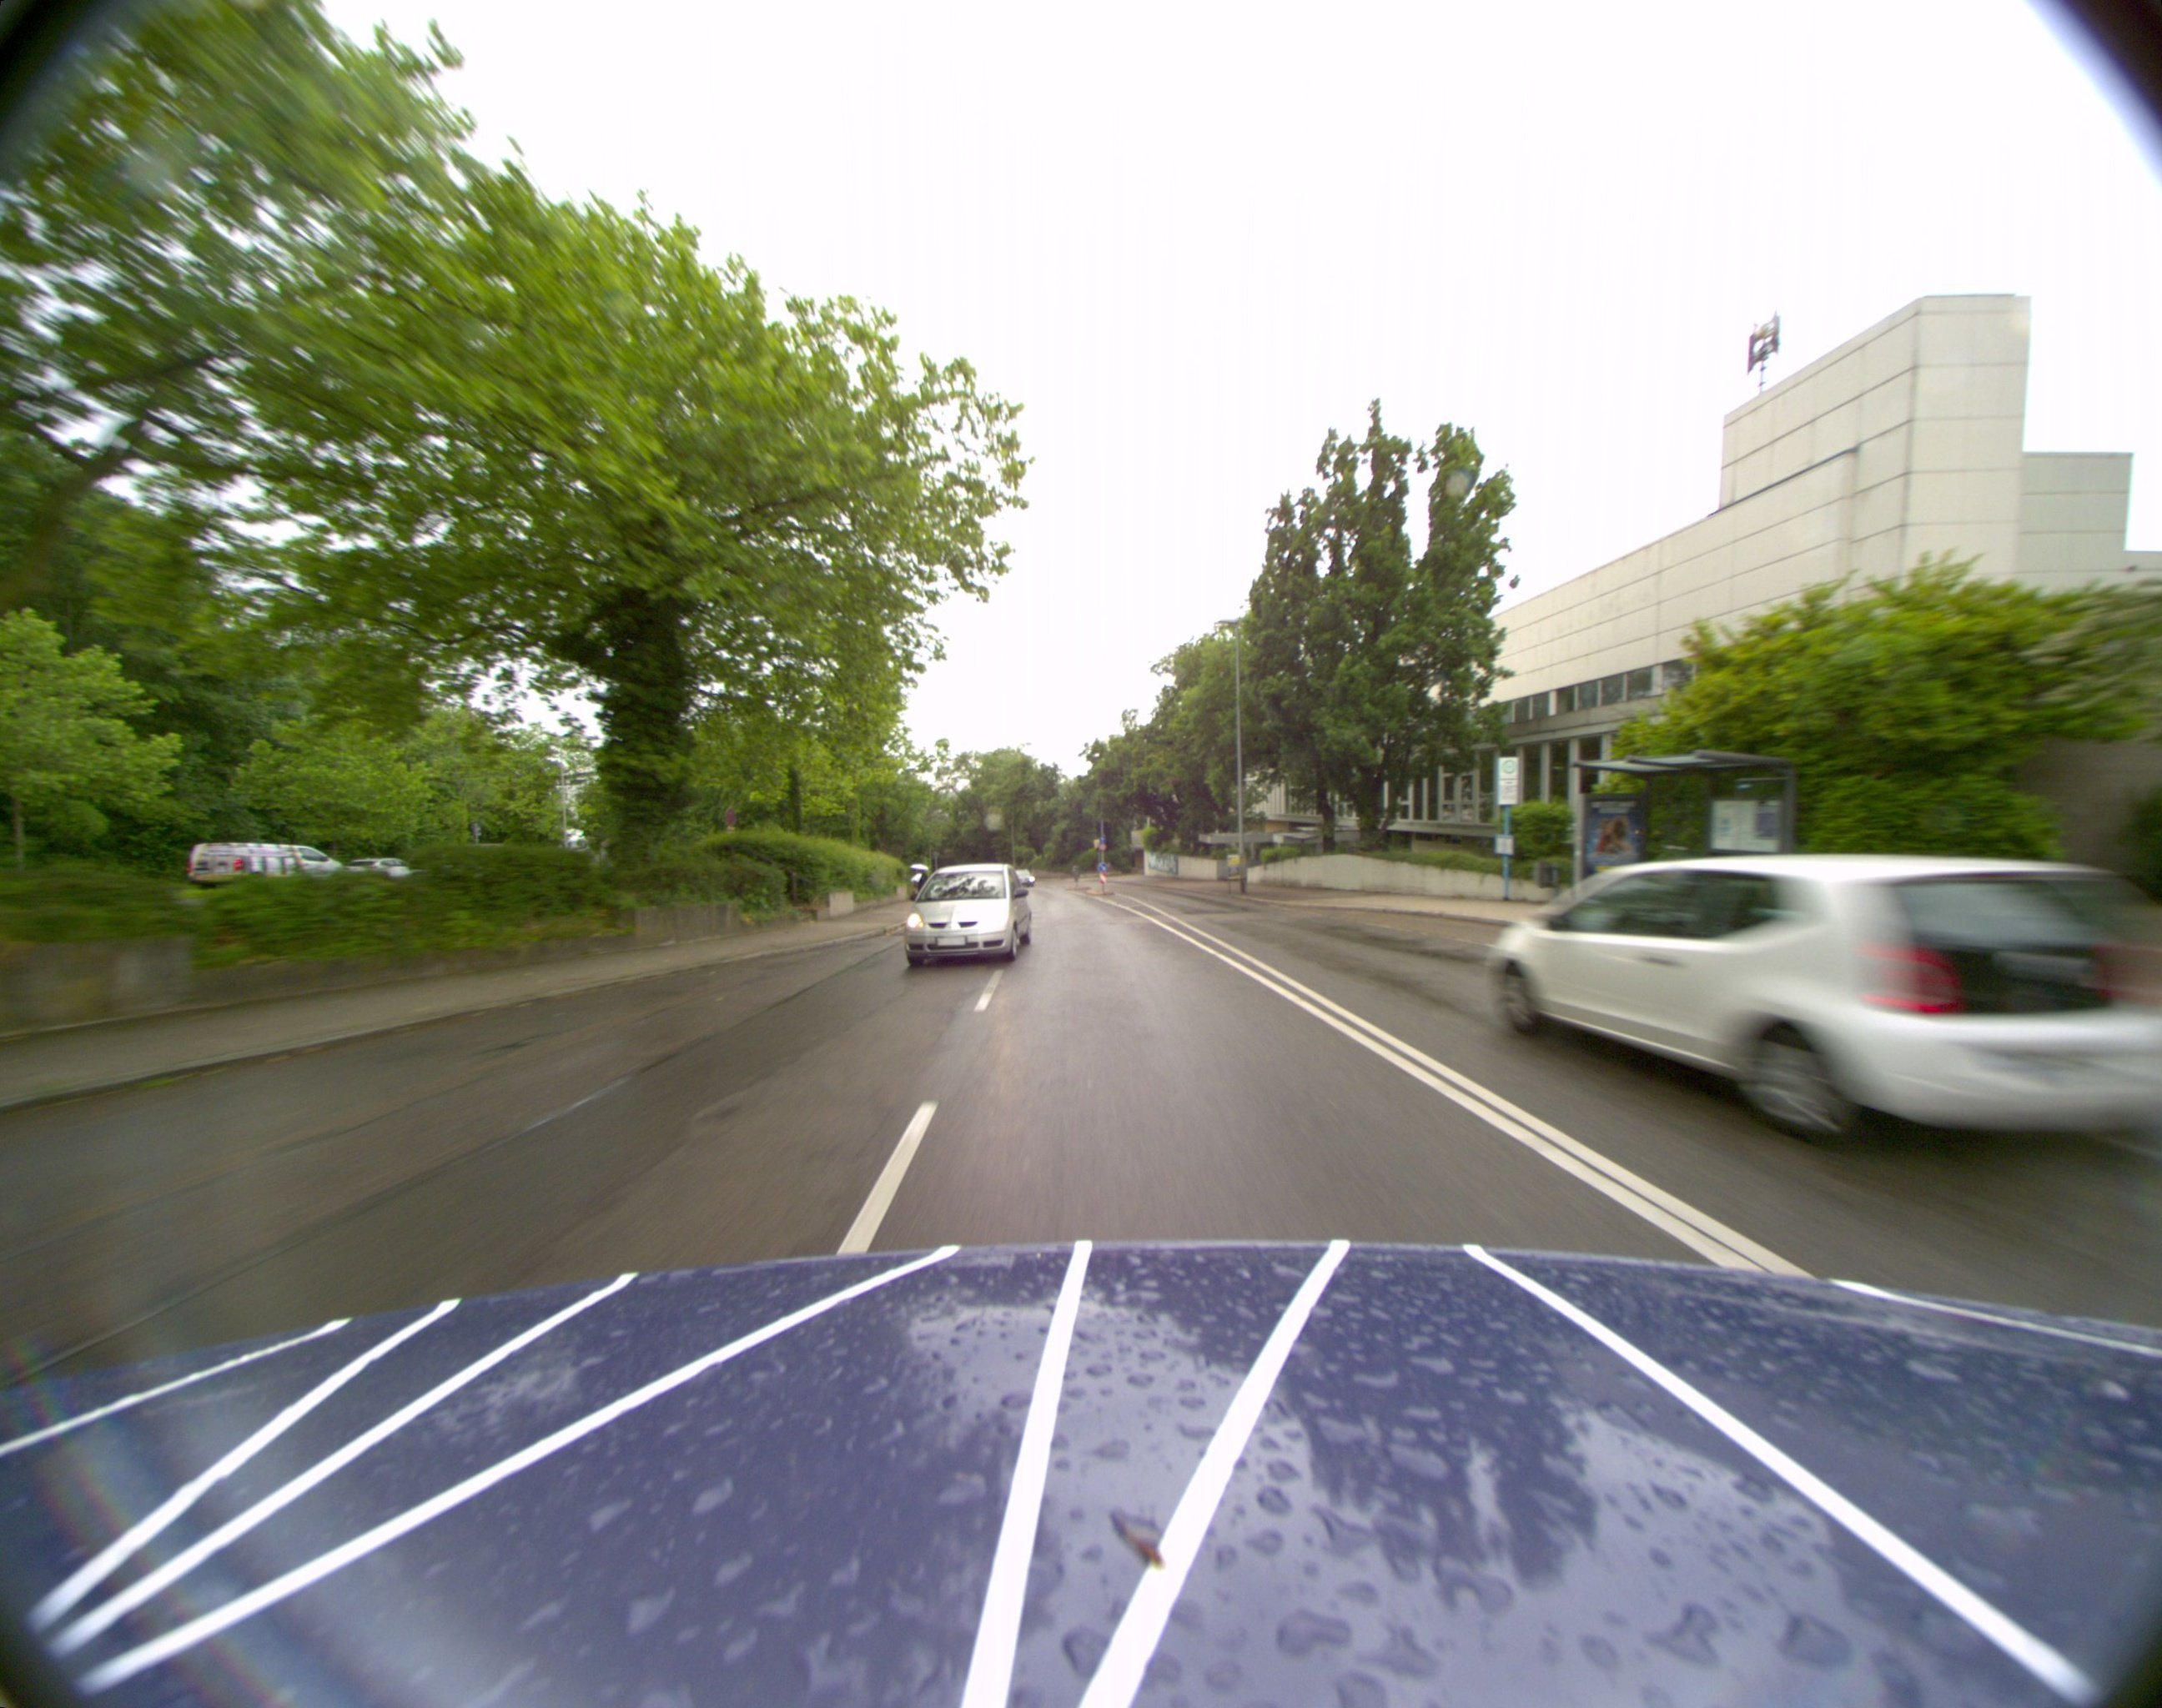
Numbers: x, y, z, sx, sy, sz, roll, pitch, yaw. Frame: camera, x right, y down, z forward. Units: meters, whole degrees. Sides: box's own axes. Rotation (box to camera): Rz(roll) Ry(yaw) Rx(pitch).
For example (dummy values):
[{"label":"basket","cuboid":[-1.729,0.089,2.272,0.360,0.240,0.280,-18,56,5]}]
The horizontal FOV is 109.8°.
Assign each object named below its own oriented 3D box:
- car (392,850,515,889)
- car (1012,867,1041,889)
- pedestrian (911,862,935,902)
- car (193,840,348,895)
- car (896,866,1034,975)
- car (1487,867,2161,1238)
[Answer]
[{"label":"car","cuboid":[-26.495,0.638,32.287,1.900,1.444,4.170,-4,-1,-4]},{"label":"car","cuboid":[-4.475,1.929,61.887,2.036,1.691,3.998,-3,-1,-7]},{"label":"pedestrian","cuboid":[-7.789,1.367,37.456,1.054,1.883,1.132,-1,2,-8]},{"label":"car","cuboid":[-32.919,0.555,31.074,1.707,2.001,4.354,-3,-1,-3]},{"label":"car","cuboid":[-1.805,0.994,13.026,1.640,1.496,4.000,-1,0,1]},{"label":"car","cuboid":[4.392,0.855,4.876,1.690,1.445,3.397,-1,0,-1]}]
